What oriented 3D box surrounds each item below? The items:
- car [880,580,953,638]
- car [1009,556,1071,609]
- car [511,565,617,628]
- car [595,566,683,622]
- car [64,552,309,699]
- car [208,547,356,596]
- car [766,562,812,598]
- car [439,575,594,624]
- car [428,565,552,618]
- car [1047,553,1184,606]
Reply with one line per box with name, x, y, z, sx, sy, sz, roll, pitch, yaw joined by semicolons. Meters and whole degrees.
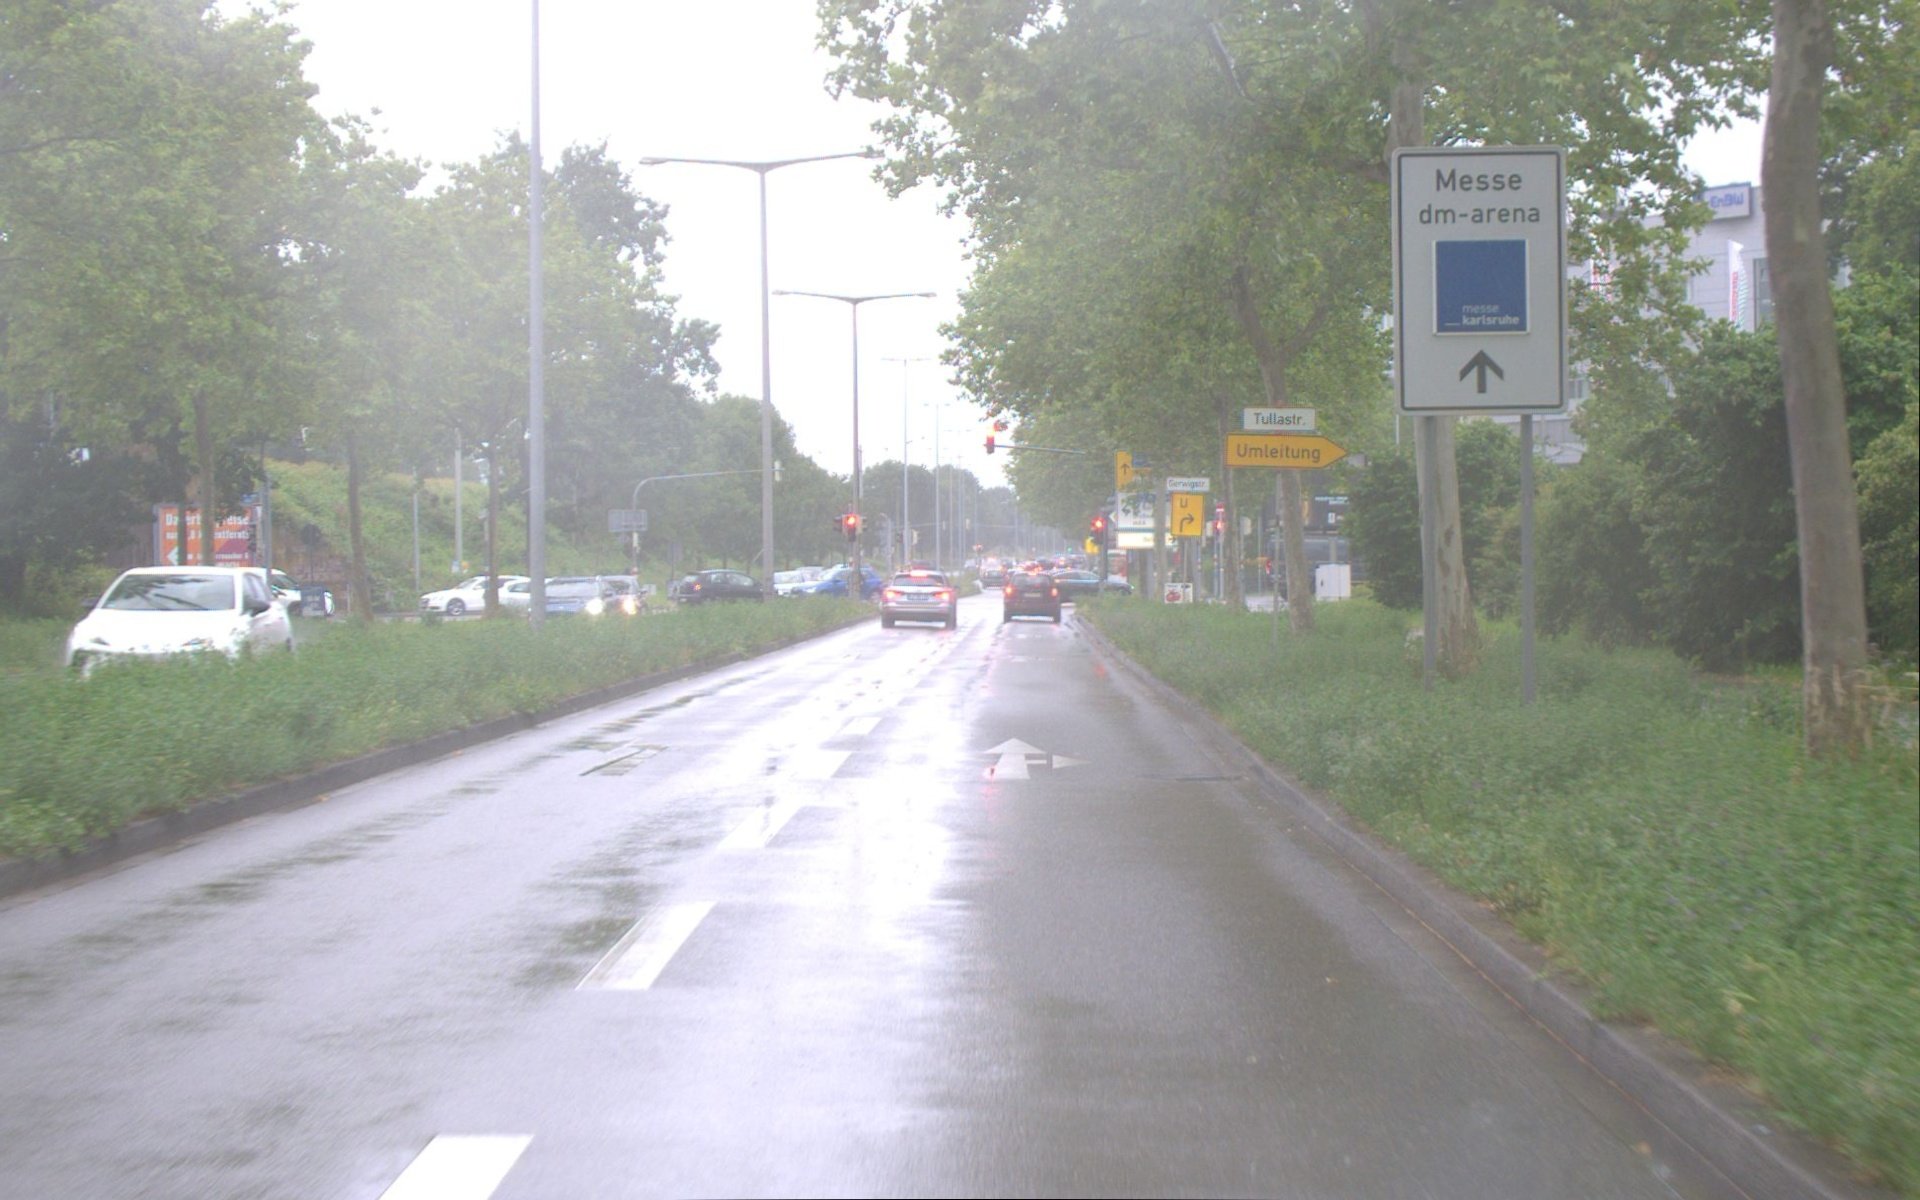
car;-1.080;0.220;87.635;1.690;1.428;4.574;0;0;2
car;2.411;-0.535;103.063;1.796;1.532;4.387;1;0;2
car;-9.378;-0.095;81.728;1.931;1.440;4.496;0;1;1
car;-8.498;-0.166;91.308;1.931;1.440;3.707;0;1;1
car;-8.380;0.236;37.562;1.702;1.489;4.205;1;1;0
car;-21.987;-0.918;111.573;4.372;1.532;1.802;-1;0;-27
car;-7.510;-0.891;151.530;1.712;1.525;4.000;-1;1;2
car;-13.455;-0.037;104.233;4.652;1.440;1.933;1;1;38
car;-17.186;-0.314;125.641;3.987;1.839;2.000;1;0;-31
car;5.166;-0.704;113.840;4.374;1.531;1.802;-4;3;-38
